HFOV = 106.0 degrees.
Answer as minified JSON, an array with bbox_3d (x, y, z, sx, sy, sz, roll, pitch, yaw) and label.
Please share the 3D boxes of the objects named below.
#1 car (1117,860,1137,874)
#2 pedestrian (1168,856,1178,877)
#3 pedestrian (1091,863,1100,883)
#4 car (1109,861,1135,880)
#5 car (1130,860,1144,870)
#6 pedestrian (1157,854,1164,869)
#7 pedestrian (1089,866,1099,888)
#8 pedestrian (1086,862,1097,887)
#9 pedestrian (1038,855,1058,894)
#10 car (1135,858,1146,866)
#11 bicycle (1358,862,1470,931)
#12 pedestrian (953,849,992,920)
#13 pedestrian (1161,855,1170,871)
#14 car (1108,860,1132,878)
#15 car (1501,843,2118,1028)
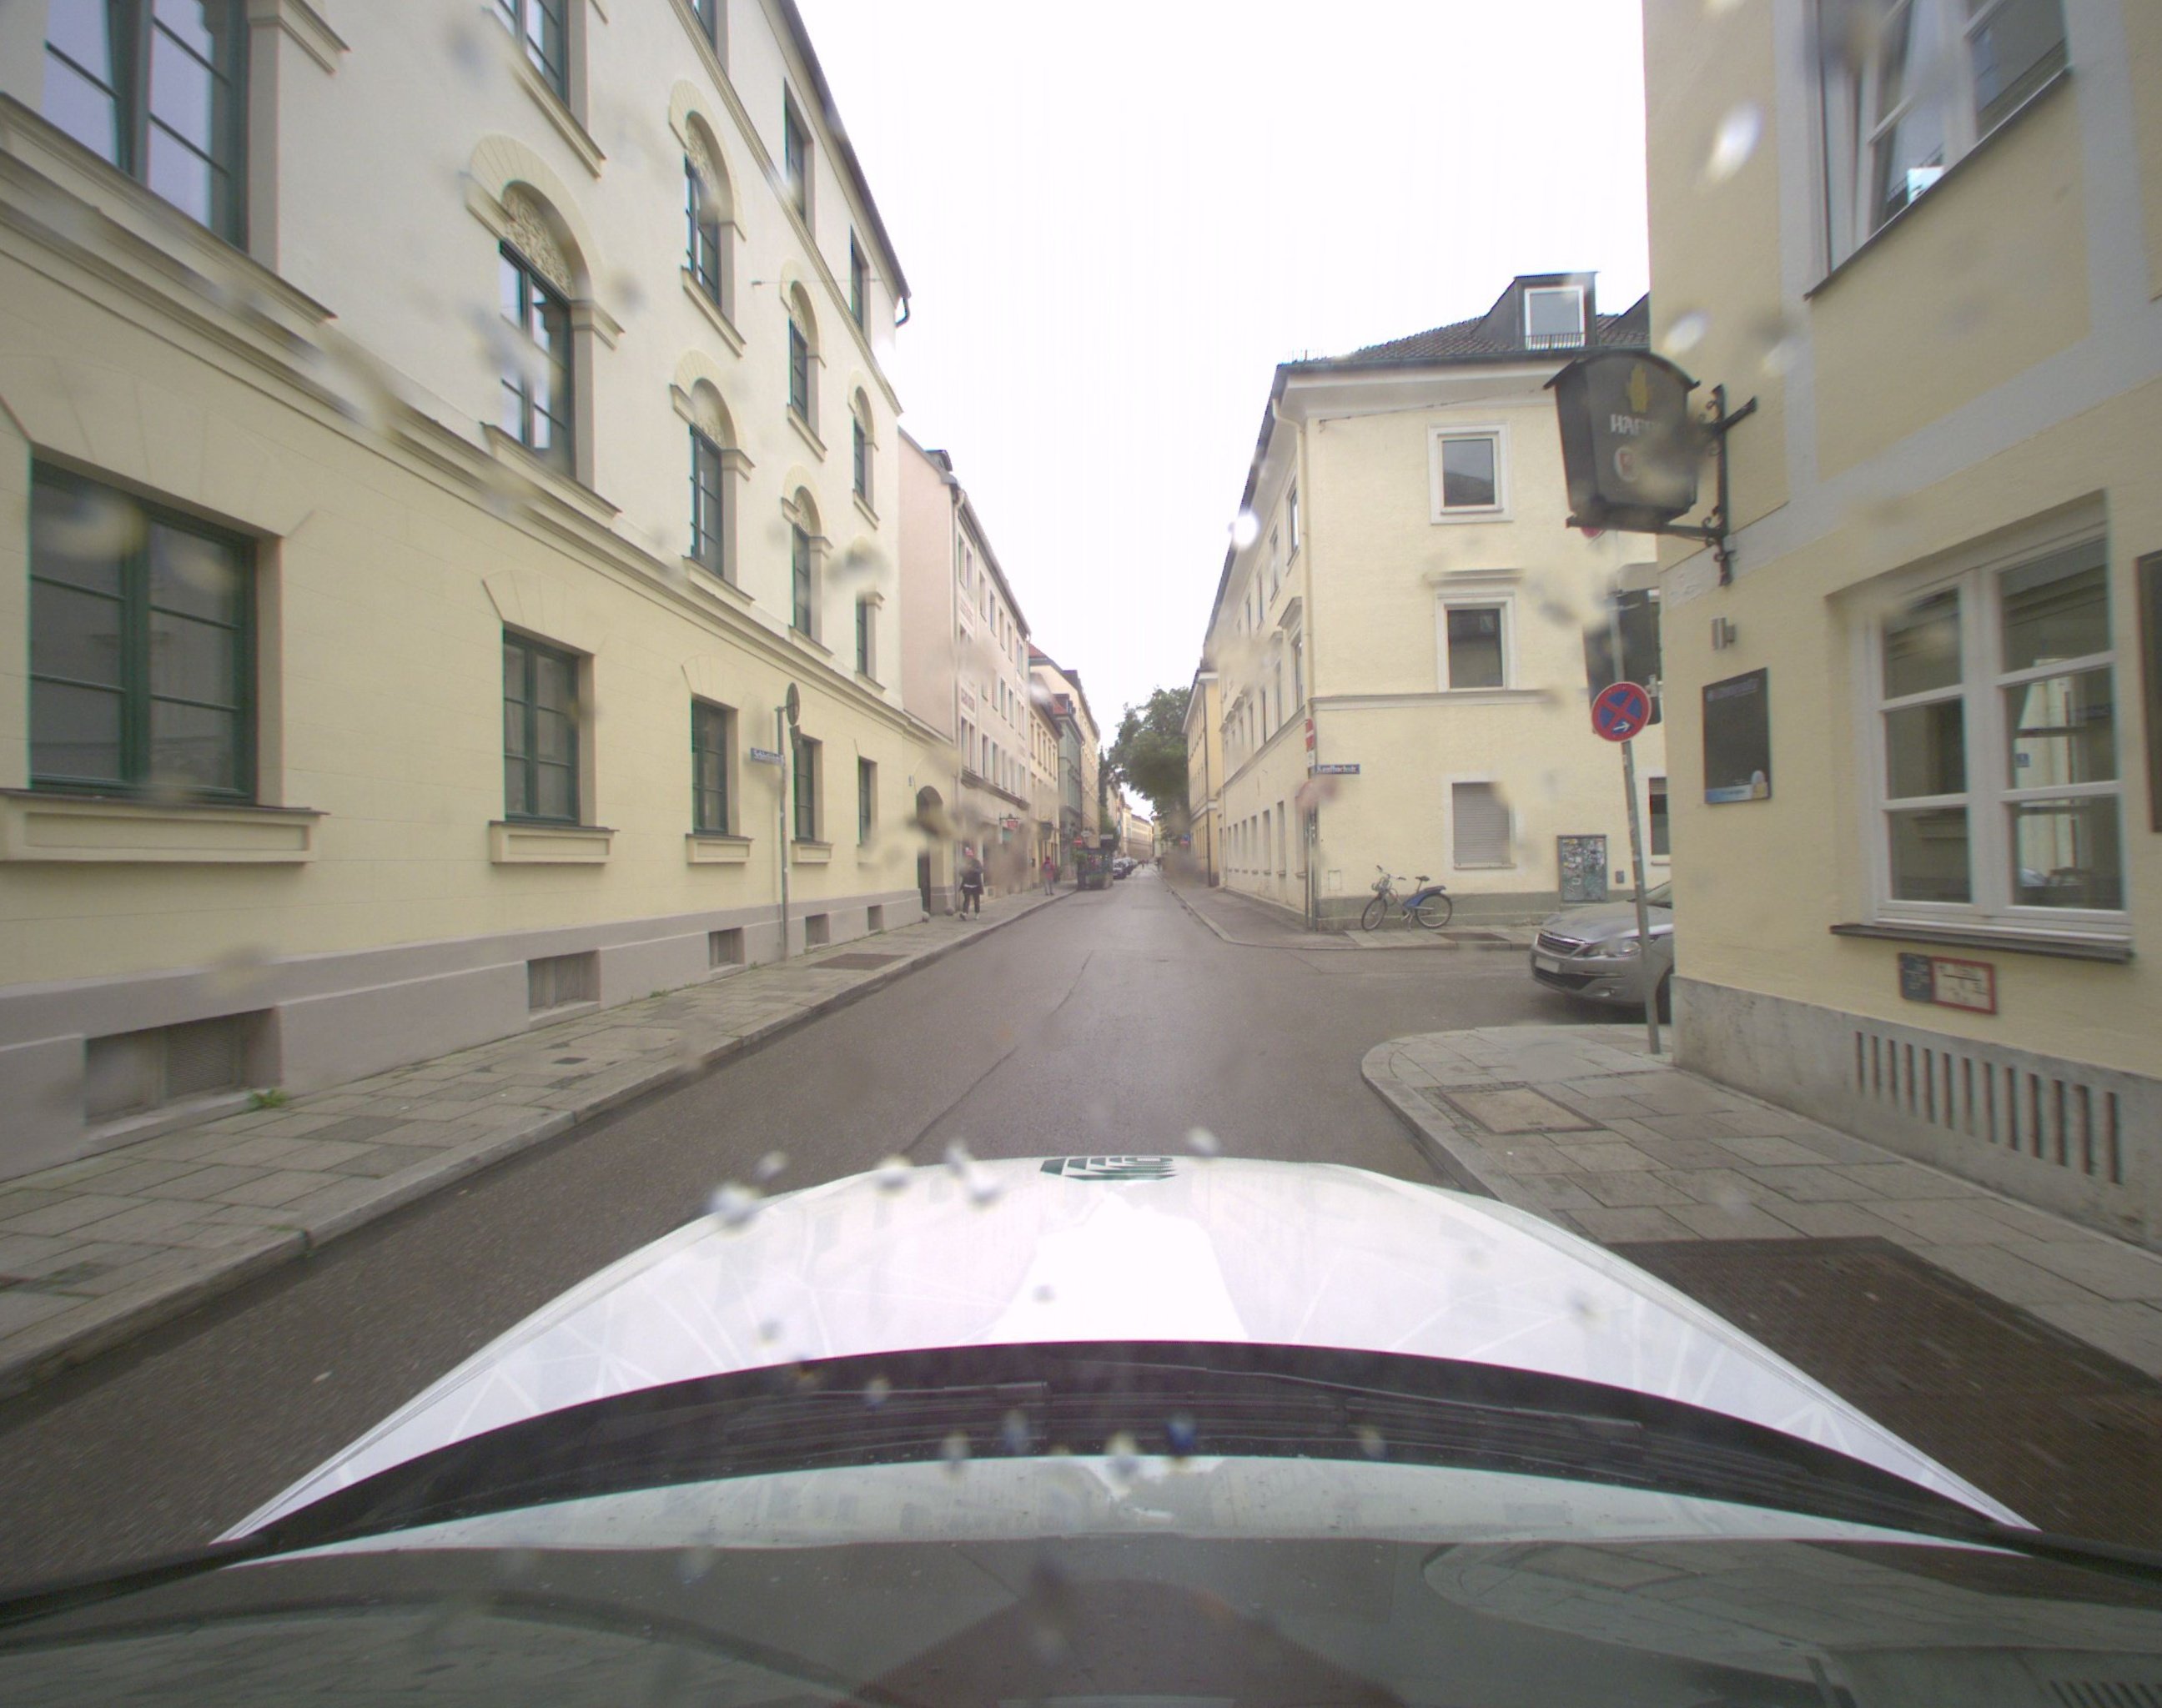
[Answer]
[{"bbox_3d":[4.830,1.335,84.597,1.770,1.466,3.549,-1,0,7],"label":"car"},{"bbox_3d":[8.224,1.129,72.710,0.876,1.802,1.048,-1,-1,5],"label":"pedestrian"},{"bbox_3d":[0.928,1.178,51.018,0.507,1.237,0.631,-1,-1,3],"label":"pedestrian"},{"bbox_3d":[3.277,1.283,65.210,1.770,1.466,3.670,-1,0,7],"label":"car"},{"bbox_3d":[7.881,1.519,114.218,1.770,1.466,3.549,-1,0,7],"label":"car"},{"bbox_3d":[9.932,0.931,101.732,0.789,1.802,0.904,-1,-1,5],"label":"pedestrian"},{"bbox_3d":[0.718,1.244,44.572,0.507,1.187,0.631,-1,-1,3],"label":"pedestrian"},{"bbox_3d":[0.561,1.091,43.603,0.507,1.326,0.631,-1,-1,3],"label":"pedestrian"},{"bbox_3d":[-1.460,0.894,36.037,0.763,1.708,0.786,-2,-1,2],"label":"pedestrian"},{"bbox_3d":[10.380,1.406,142.429,1.770,1.466,3.549,-1,0,7],"label":"car"},{"bbox_3d":[6.009,0.765,14.743,1.749,1.144,0.587,-2,2,4],"label":"bicycle"},{"bbox_3d":[-2.797,0.768,21.101,0.806,1.755,0.990,-1,1,2],"label":"pedestrian"},{"bbox_3d":[9.860,1.040,94.766,1.011,1.802,1.351,-1,-1,5],"label":"pedestrian"},{"bbox_3d":[3.374,1.297,69.687,1.770,1.466,3.549,-1,0,7],"label":"car"},{"bbox_3d":[6.336,0.672,7.543,3.994,1.440,1.768,-1,2,6],"label":"car"}]
